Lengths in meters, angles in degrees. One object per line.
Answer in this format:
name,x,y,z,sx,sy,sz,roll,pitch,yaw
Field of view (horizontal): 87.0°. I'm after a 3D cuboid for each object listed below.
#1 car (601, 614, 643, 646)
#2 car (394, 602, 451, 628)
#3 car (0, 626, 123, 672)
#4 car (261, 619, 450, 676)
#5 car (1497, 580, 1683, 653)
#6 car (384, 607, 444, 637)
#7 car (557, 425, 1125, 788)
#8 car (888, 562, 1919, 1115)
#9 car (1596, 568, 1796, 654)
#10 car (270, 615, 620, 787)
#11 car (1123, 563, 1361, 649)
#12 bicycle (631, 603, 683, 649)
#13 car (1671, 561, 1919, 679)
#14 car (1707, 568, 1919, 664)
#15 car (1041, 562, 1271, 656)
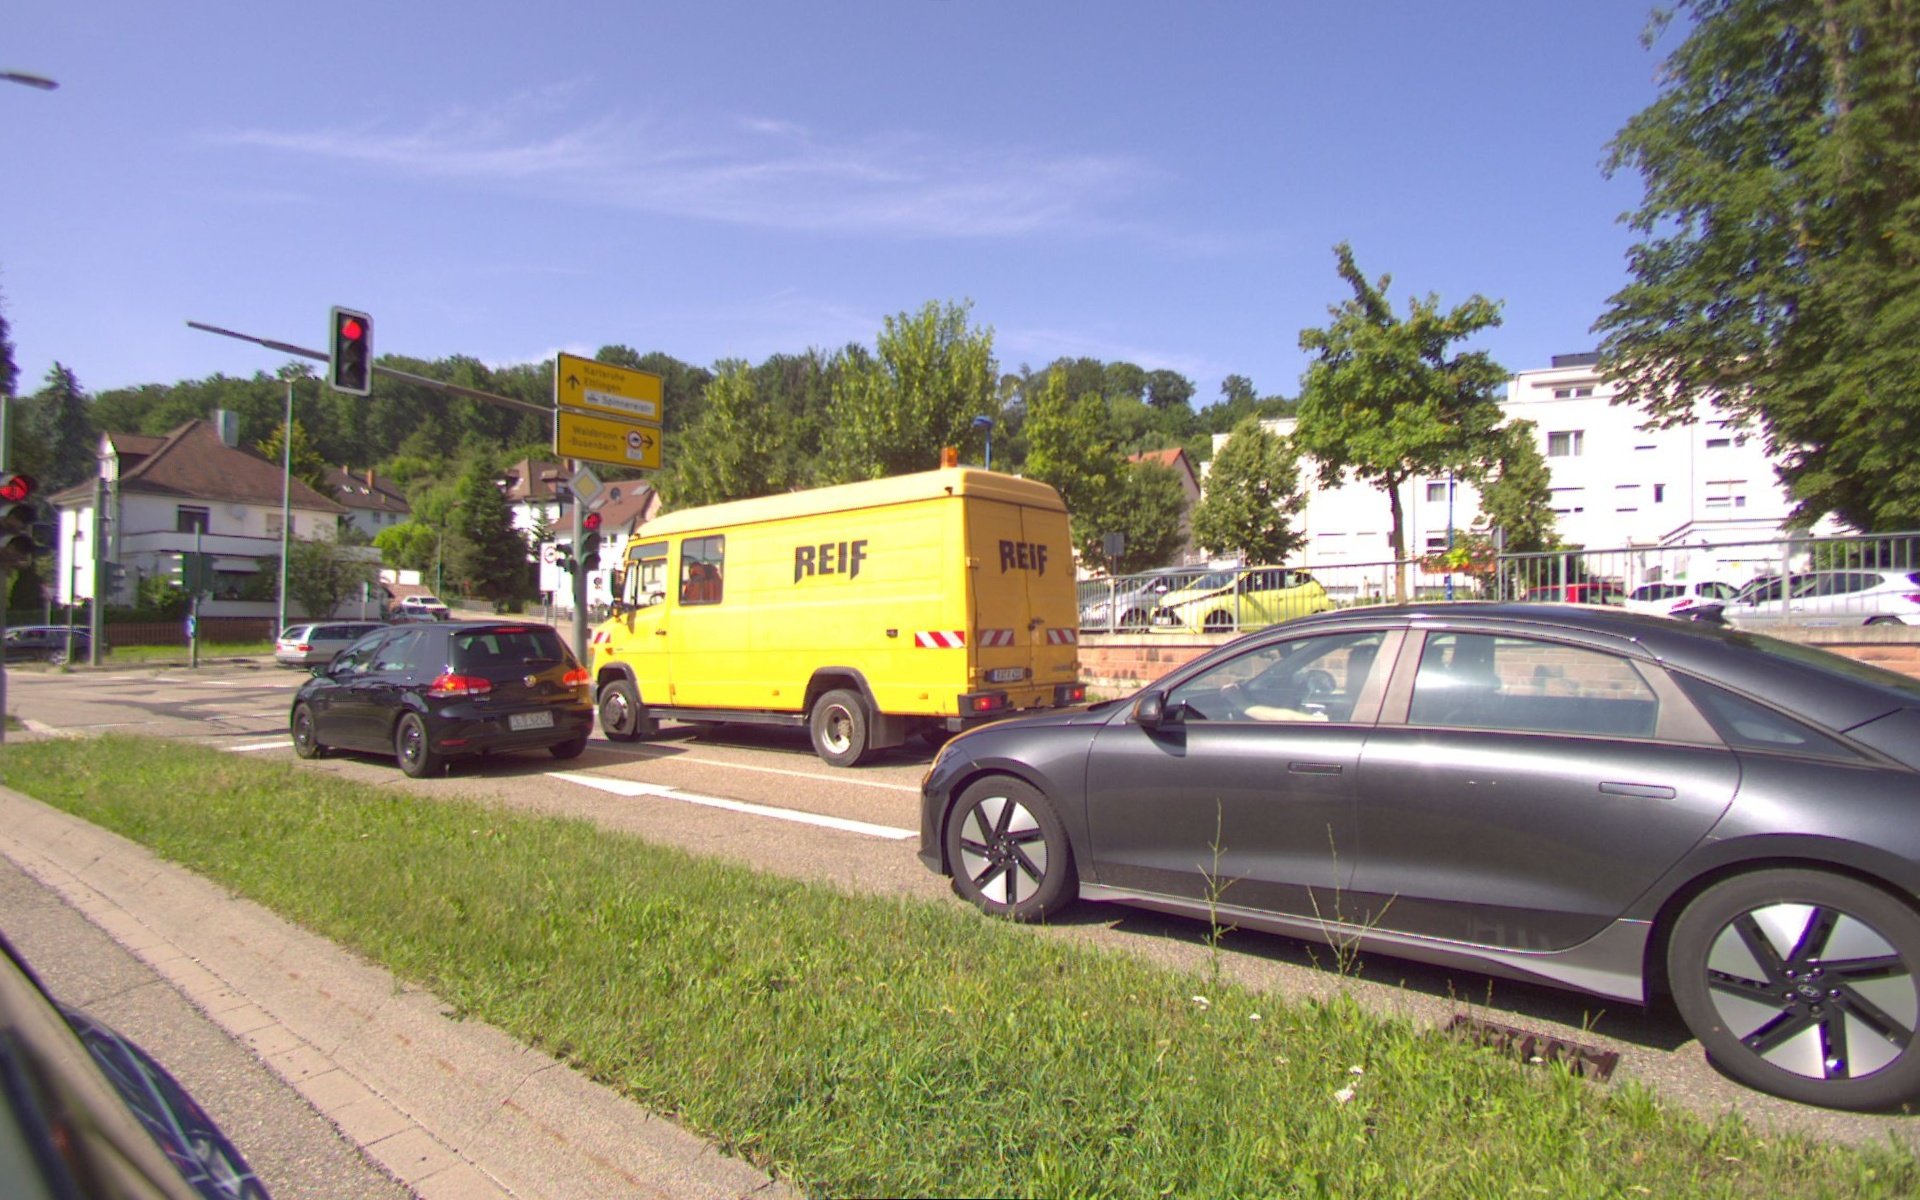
car,-17.453,1.552,52.102,1.633,1.545,3.968,-1,-2,-24
car,-36.890,1.039,69.407,3.995,1.619,1.974,-3,-1,39
car,-33.801,1.813,36.921,4.668,1.495,1.987,-2,-1,-26
car,-18.544,1.429,31.322,1.971,1.515,4.708,-3,-1,27
car,15.761,0.389,25.326,3.931,1.571,1.920,-2,-1,-21
car,-33.070,1.364,61.262,3.999,1.649,1.914,-3,-1,42
car,-1.624,0.096,11.403,6.456,3.033,2.444,-1,0,38
car,2.007,0.673,4.337,4.712,1.482,1.773,-2,-1,40
car,16.793,0.232,23.094,3.931,1.714,1.920,-3,-1,-24
car,-5.504,0.927,10.634,4.037,1.474,1.729,-2,-2,38
car,5.332,0.100,19.217,3.931,1.392,1.920,-2,-1,-21
bicycle,-9.306,0.812,31.079,1.756,1.265,0.612,-5,1,42
car,14.883,0.339,17.345,1.888,1.803,4.013,0,-1,-21
car,17.354,0.281,20.189,3.931,1.684,2.006,-2,-1,-19
car,4.174,0.160,21.663,4.339,1.709,2.064,-3,1,-21
